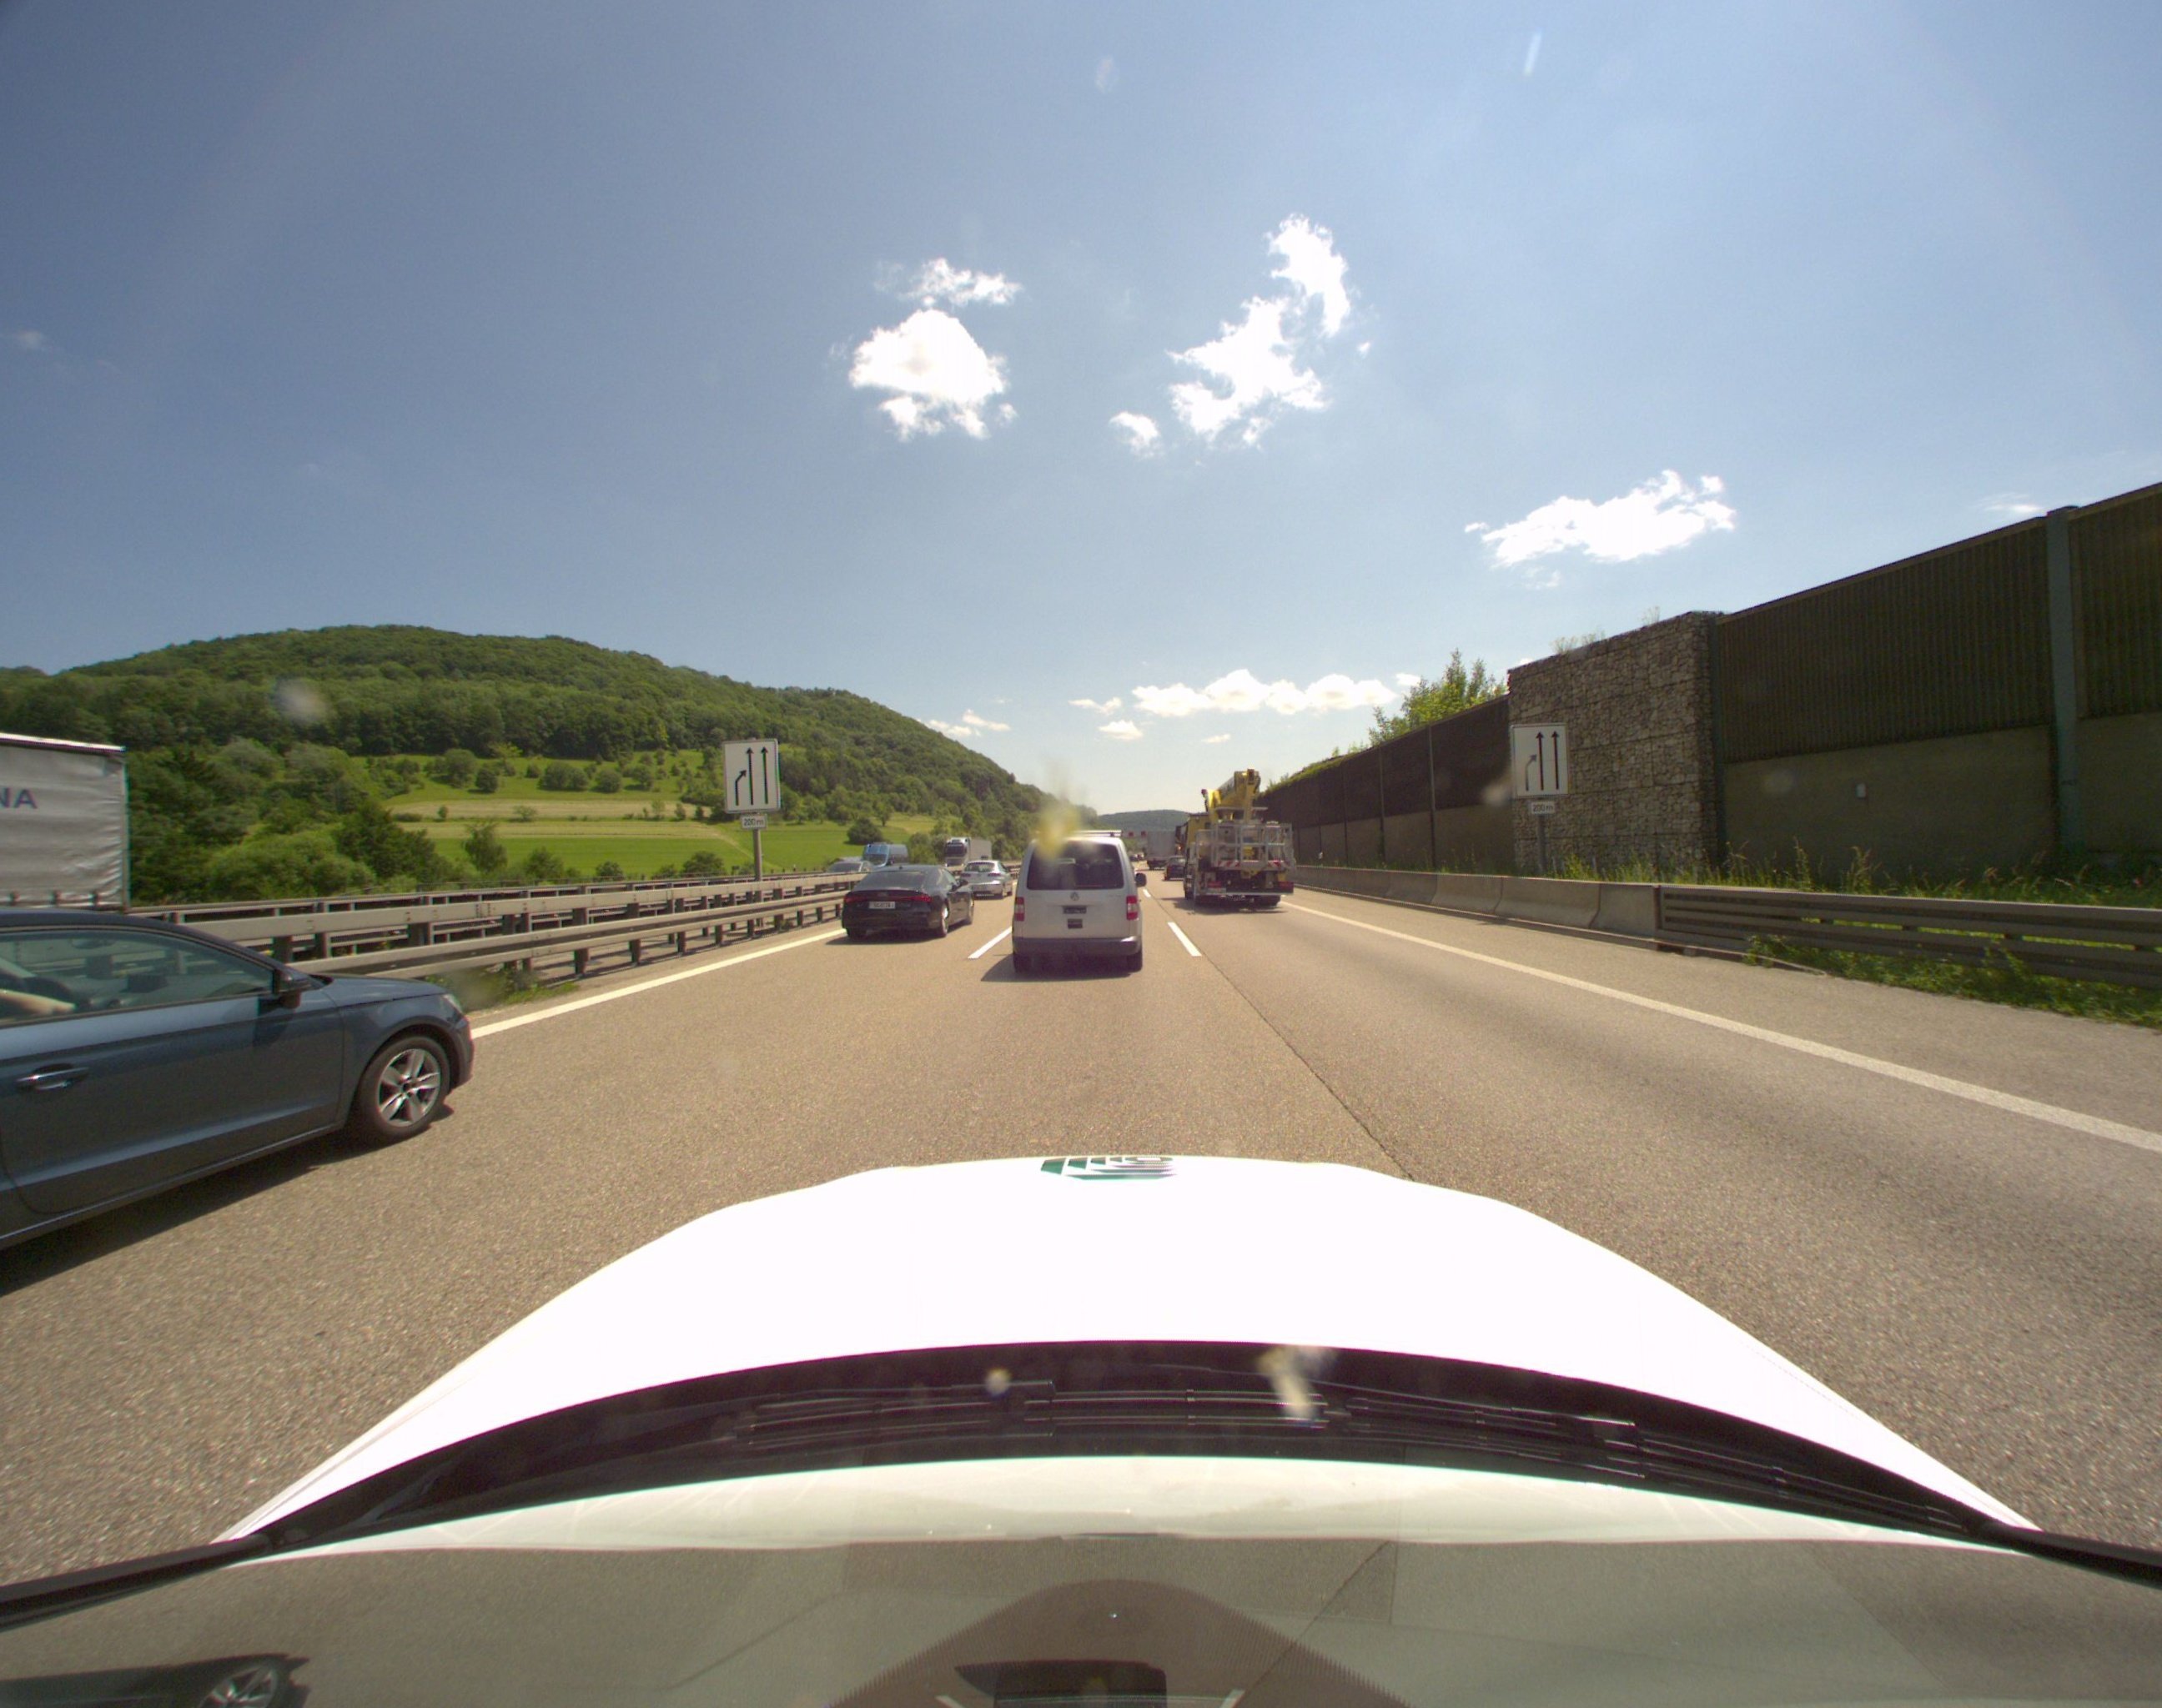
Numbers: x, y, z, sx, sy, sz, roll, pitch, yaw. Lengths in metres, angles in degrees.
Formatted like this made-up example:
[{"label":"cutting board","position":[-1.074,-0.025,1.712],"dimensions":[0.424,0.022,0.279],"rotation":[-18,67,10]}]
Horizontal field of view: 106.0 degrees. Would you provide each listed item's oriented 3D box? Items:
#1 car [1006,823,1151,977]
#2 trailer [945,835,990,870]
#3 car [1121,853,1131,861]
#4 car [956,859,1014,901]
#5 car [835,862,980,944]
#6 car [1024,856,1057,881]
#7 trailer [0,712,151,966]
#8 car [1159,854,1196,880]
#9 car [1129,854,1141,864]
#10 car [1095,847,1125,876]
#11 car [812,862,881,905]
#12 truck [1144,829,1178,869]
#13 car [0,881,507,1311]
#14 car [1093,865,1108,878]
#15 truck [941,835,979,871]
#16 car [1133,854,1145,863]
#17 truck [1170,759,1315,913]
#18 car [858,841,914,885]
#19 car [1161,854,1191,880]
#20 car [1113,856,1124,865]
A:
[{"label":"car","position":[-0.036,0.570,12.080],"dimensions":[1.751,1.868,3.999],"rotation":[-1,0,0]},{"label":"trailer","position":[-14.252,-0.116,103.174],"dimensions":[3.234,4.204,13.008],"rotation":[0,-1,3]},{"label":"car","position":[10.169,0.772,184.171],"dimensions":[1.987,1.805,4.000],"rotation":[0,-1,1]},{"label":"car","position":[-3.562,0.916,30.772],"dimensions":[1.690,1.445,3.861],"rotation":[-1,0,0]},{"label":"car","position":[-3.406,0.905,16.992],"dimensions":[1.794,1.390,4.971],"rotation":[-1,0,2]},{"label":"car","position":[-2.490,0.883,51.133],"dimensions":[1.919,1.499,3.999],"rotation":[0,0,0]},{"label":"trailer","position":[-19.421,-0.293,8.765],"dimensions":[2.844,4.191,13.619],"rotation":[0,-1,2]},{"label":"car","position":[5.771,0.748,49.014],"dimensions":[1.781,1.458,3.770],"rotation":[-1,0,0]},{"label":"car","position":[9.424,0.934,141.217],"dimensions":[1.985,1.749,4.002],"rotation":[0,-1,2]},{"label":"car","position":[2.031,0.529,57.910],"dimensions":[1.987,1.975,3.999],"rotation":[-1,0,0]},{"label":"car","position":[-10.369,1.265,36.344],"dimensions":[1.840,1.709,4.282],"rotation":[-1,0,0]},{"label":"truck","position":[7.967,-0.437,82.011],"dimensions":[2.929,3.823,8.240],"rotation":[0,-1,2]},{"label":"car","position":[-4.513,0.875,3.151],"dimensions":[1.683,1.388,4.000],"rotation":[-1,0,1]},{"label":"car","position":[2.858,2.500,118.706],"dimensions":[2.106,1.828,4.002],"rotation":[0,-1,2]},{"label":"truck","position":[-14.464,-0.128,97.968],"dimensions":[3.265,4.148,6.958],"rotation":[-1,-1,2]},{"label":"car","position":[12.006,0.945,168.419],"dimensions":[2.108,1.828,3.998],"rotation":[0,-1,-1]},{"label":"truck","position":[4.654,-0.453,25.447],"dimensions":[2.695,3.942,8.719],"rotation":[-1,0,0]},{"label":"car","position":[-13.482,0.618,56.739],"dimensions":[2.147,2.862,6.402],"rotation":[0,-1,2]},{"label":"car","position":[7.712,1.069,66.458],"dimensions":[1.986,2.013,4.001],"rotation":[-1,0,1]},{"label":"car","position":[7.458,1.341,162.013],"dimensions":[2.108,1.828,3.998],"rotation":[0,-1,-1]}]
